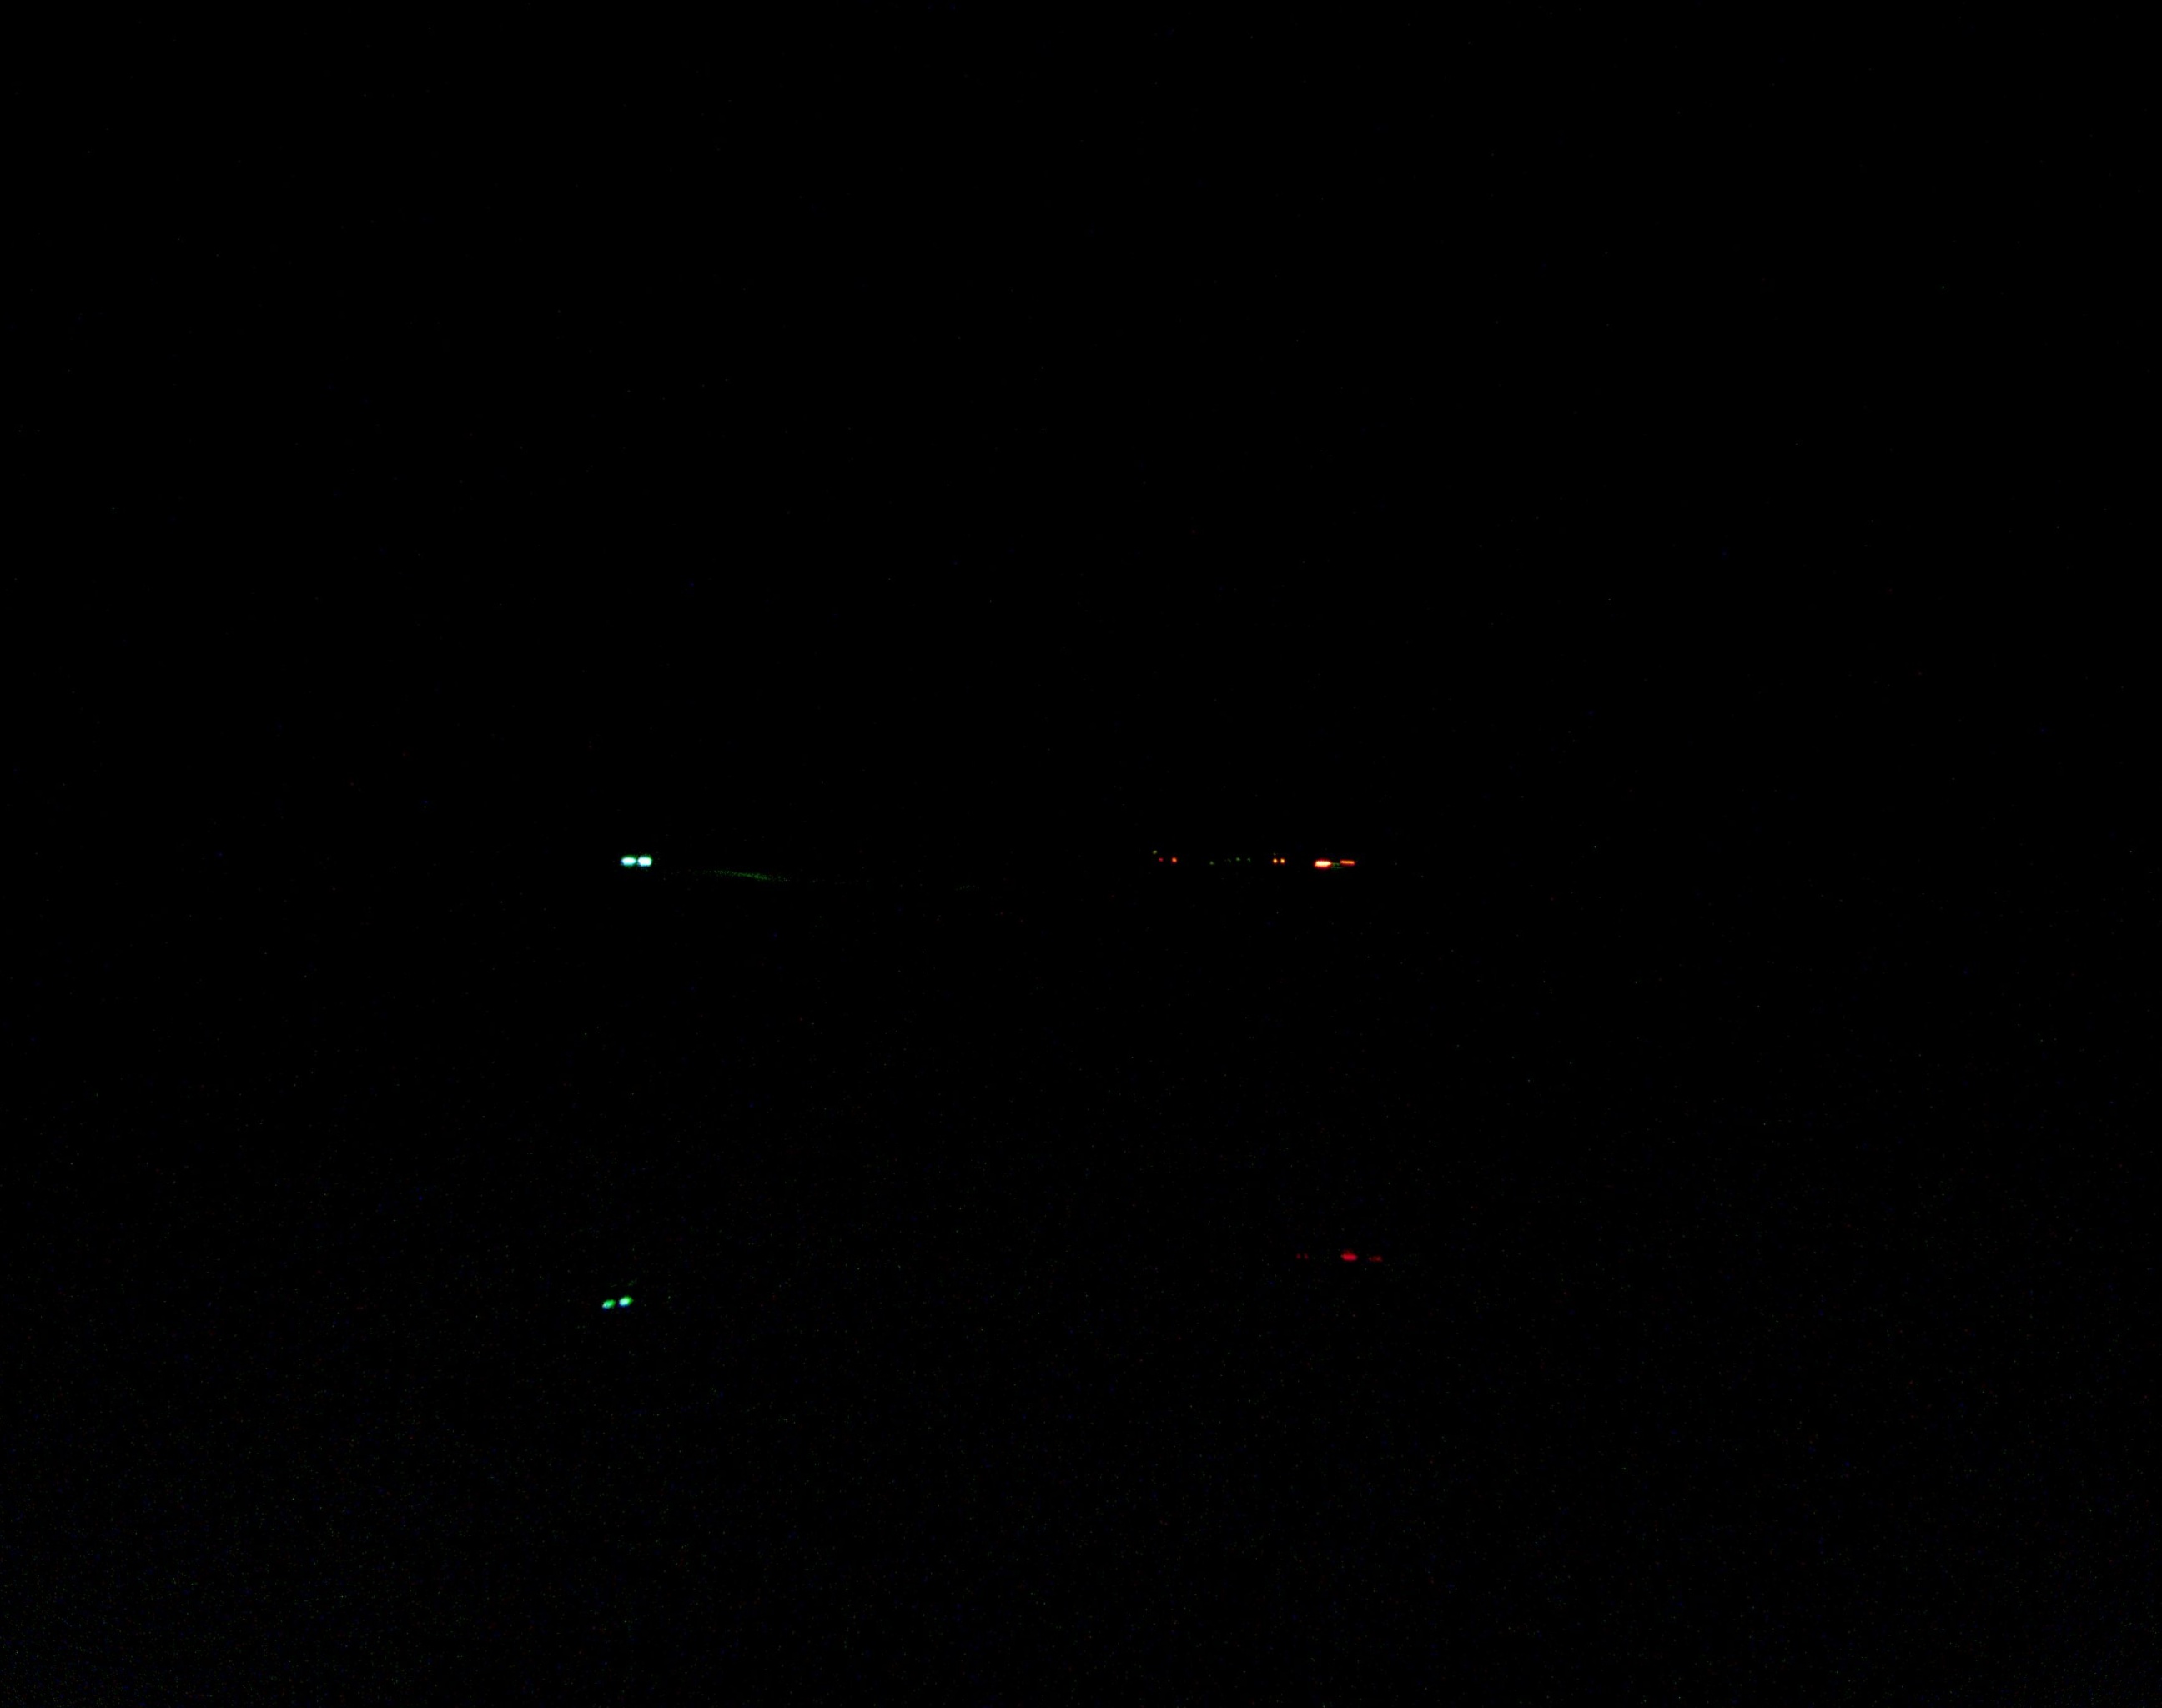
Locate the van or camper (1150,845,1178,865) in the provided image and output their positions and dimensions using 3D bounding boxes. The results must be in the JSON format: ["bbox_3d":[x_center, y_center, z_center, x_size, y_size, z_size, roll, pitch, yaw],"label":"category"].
[{"bbox_3d":[11.068,0.169,101.853,2.301,2.602,7.662,0,0,-4],"label":"van or camper"}]

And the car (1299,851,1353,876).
[{"bbox_3d":[14.957,0.575,46.654,1.962,1.448,4.471,0,0,2],"label":"car"}]

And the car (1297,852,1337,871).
[{"bbox_3d":[18.473,0.568,59.570,1.962,1.448,4.170,0,0,2],"label":"car"}]

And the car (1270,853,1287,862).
[{"bbox_3d":[32.262,0.536,124.178,1.825,1.433,4.476,1,0,2],"label":"car"}]

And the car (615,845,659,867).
[{"bbox_3d":[-39.747,0.207,67.982,3.989,1.843,2.004,-2,1,37],"label":"car"}]
